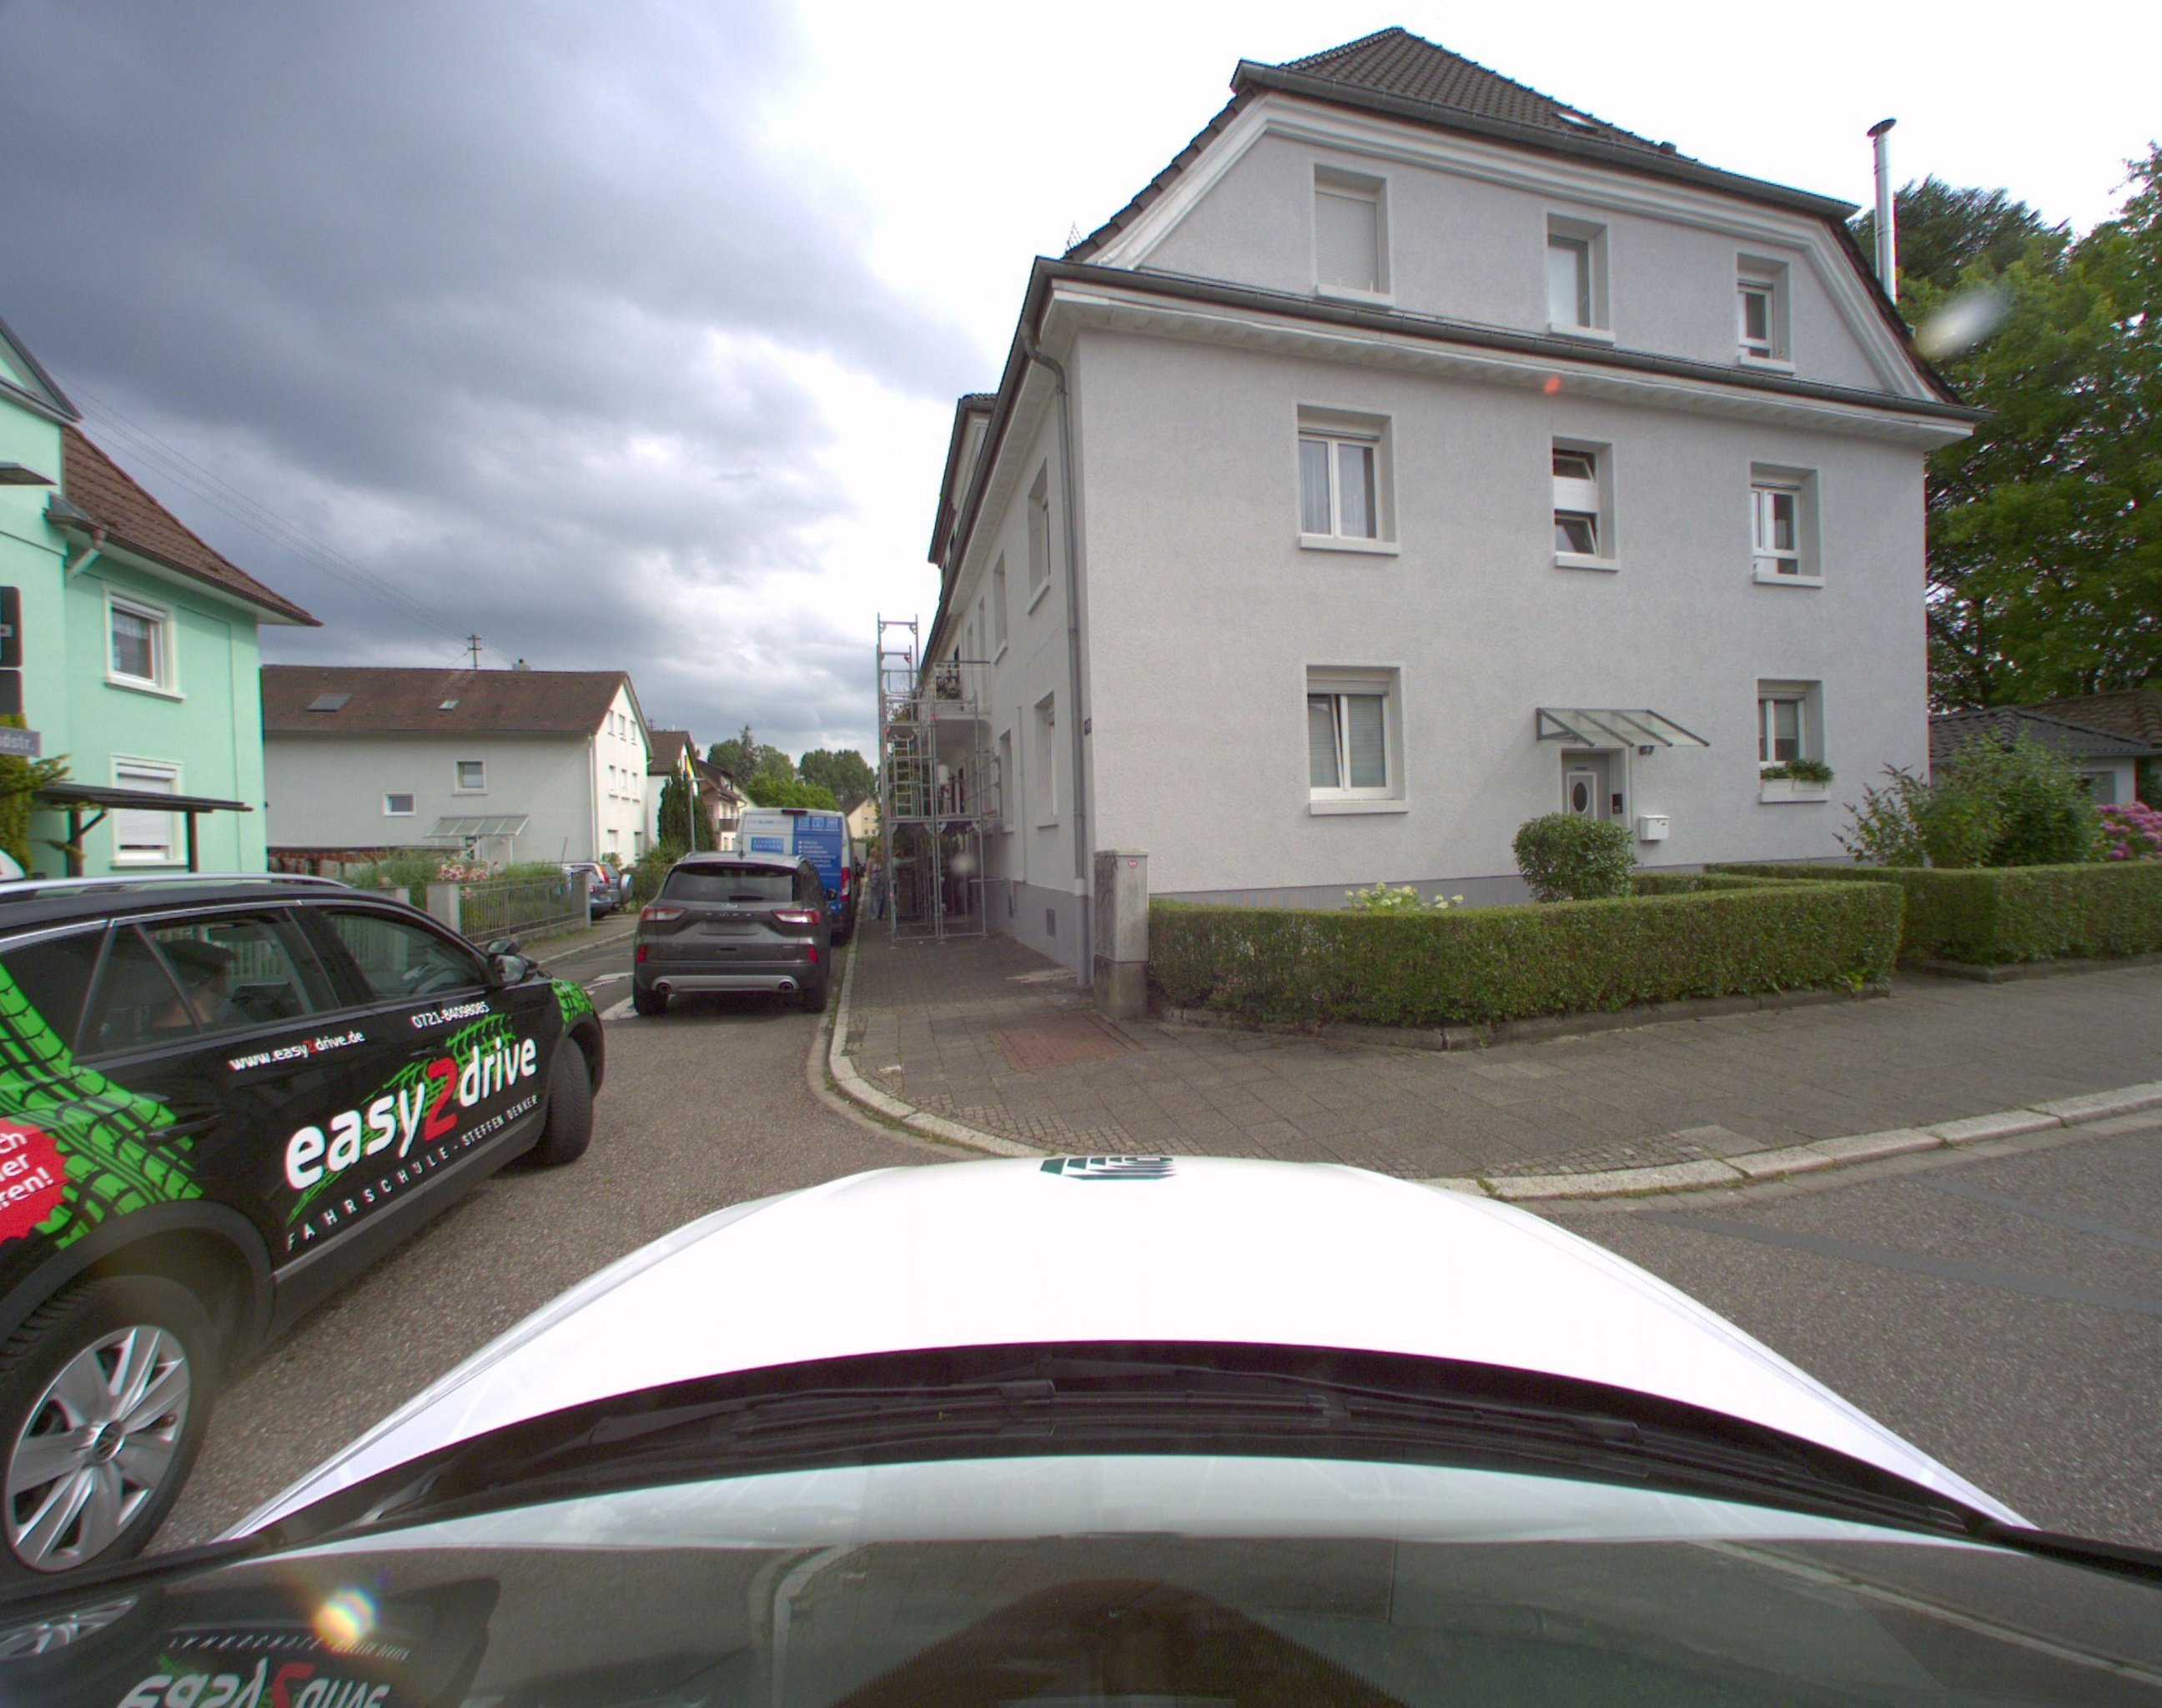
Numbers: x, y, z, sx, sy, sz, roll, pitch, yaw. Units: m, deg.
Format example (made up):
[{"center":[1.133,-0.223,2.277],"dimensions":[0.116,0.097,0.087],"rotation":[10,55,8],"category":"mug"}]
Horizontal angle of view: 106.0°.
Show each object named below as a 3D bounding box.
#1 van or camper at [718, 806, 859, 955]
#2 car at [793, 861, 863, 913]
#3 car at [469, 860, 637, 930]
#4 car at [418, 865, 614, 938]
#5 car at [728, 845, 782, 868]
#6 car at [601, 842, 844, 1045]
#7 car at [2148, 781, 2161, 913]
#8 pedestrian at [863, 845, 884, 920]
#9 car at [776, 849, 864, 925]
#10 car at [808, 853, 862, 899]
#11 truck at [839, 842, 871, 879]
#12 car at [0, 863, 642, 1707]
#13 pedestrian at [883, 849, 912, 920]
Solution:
[{"center":[-5.683,0.427,16.489],"dimensions":[2.196,2.459,5.028],"rotation":[-2,1,-15],"category":"van or camper"},{"center":[-8.382,1.013,27.059],"dimensions":[1.999,1.455,4.316],"rotation":[-2,1,-17],"category":"car"},{"center":[-14.643,1.096,22.803],"dimensions":[3.582,1.667,1.577],"rotation":[-3,0,-19],"category":"car"},{"center":[-13.731,1.103,20.012],"dimensions":[3.582,1.500,1.577],"rotation":[-3,0,-19],"category":"car"},{"center":[-27.045,0.207,67.624],"dimensions":[3.998,1.772,1.858],"rotation":[-2,-1,-18],"category":"car"},{"center":[-3.879,0.785,9.556],"dimensions":[1.999,1.726,4.316],"rotation":[-2,1,-17],"category":"car"},{"center":[17.134,-0.170,10.908],"dimensions":[3.992,1.837,1.991],"rotation":[-2,1,-13],"category":"car"},{"center":[-5.014,0.686,19.675],"dimensions":[0.408,1.762,0.511],"rotation":[-2,-1,-14],"category":"pedestrian"},{"center":[-7.067,0.799,22.201],"dimensions":[1.999,1.772,4.316],"rotation":[-2,1,-17],"category":"car"},{"center":[-10.487,0.869,34.736],"dimensions":[1.999,1.749,4.316],"rotation":[-2,1,-17],"category":"car"},{"center":[-17.086,0.462,61.455],"dimensions":[2.135,2.657,4.558],"rotation":[-2,1,-17],"category":"truck"},{"center":[-3.131,0.824,2.718],"dimensions":[1.817,1.520,4.026],"rotation":[-1,-1,-12],"category":"car"},{"center":[-4.375,0.720,19.445],"dimensions":[0.602,1.629,0.622],"rotation":[-2,-1,-14],"category":"pedestrian"}]
